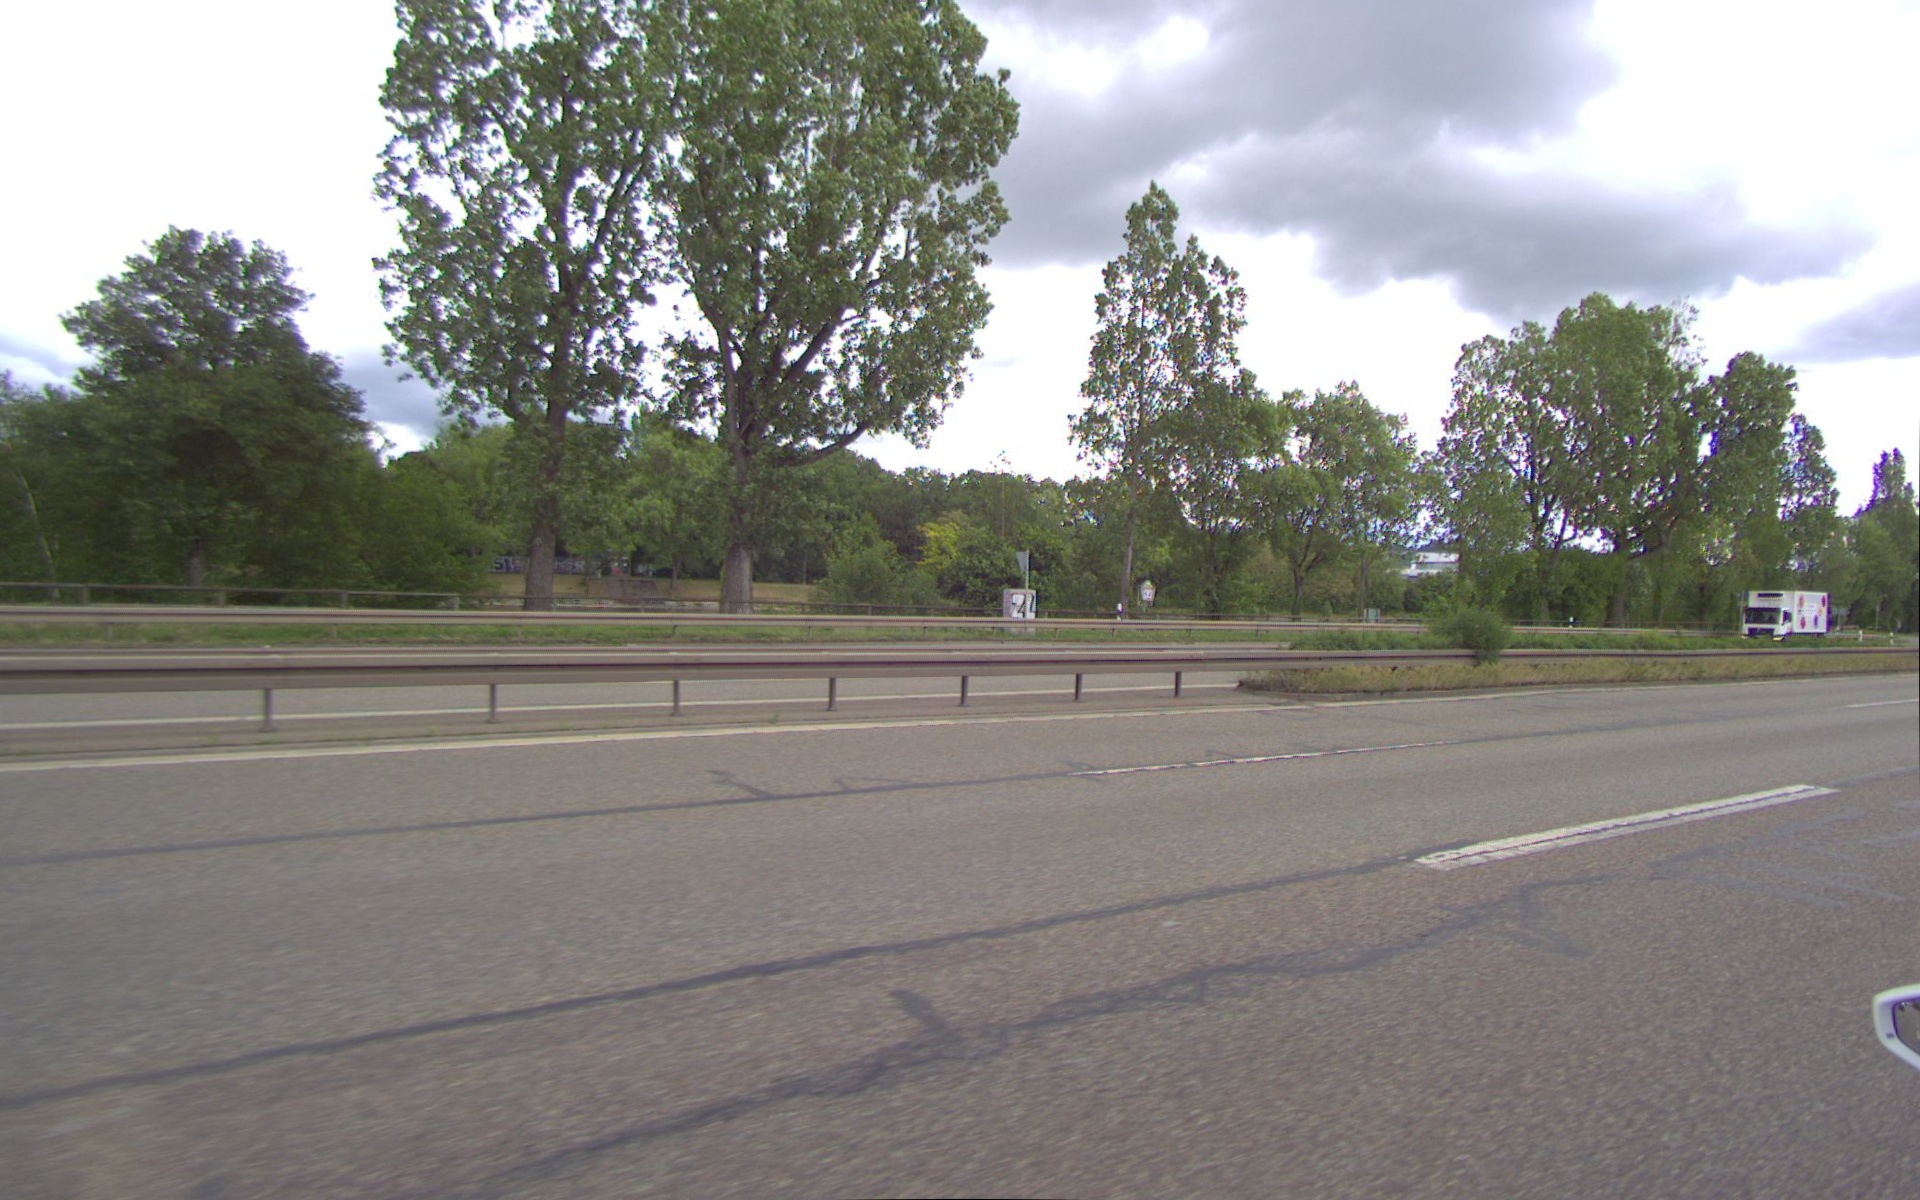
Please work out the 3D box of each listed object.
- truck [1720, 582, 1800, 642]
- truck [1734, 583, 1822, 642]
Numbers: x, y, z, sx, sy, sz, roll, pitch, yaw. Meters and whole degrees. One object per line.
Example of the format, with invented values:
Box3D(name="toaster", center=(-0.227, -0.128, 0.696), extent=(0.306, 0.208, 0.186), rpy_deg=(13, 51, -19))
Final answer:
Box3D(name="truck", center=(53.131, 0.793, 66.716), extent=(3.961, 3.692, 2.964), rpy_deg=(1, 3, -35))
Box3D(name="truck", center=(56.084, 0.877, 68.846), extent=(6.275, 3.692, 2.962), rpy_deg=(1, 3, -36))
